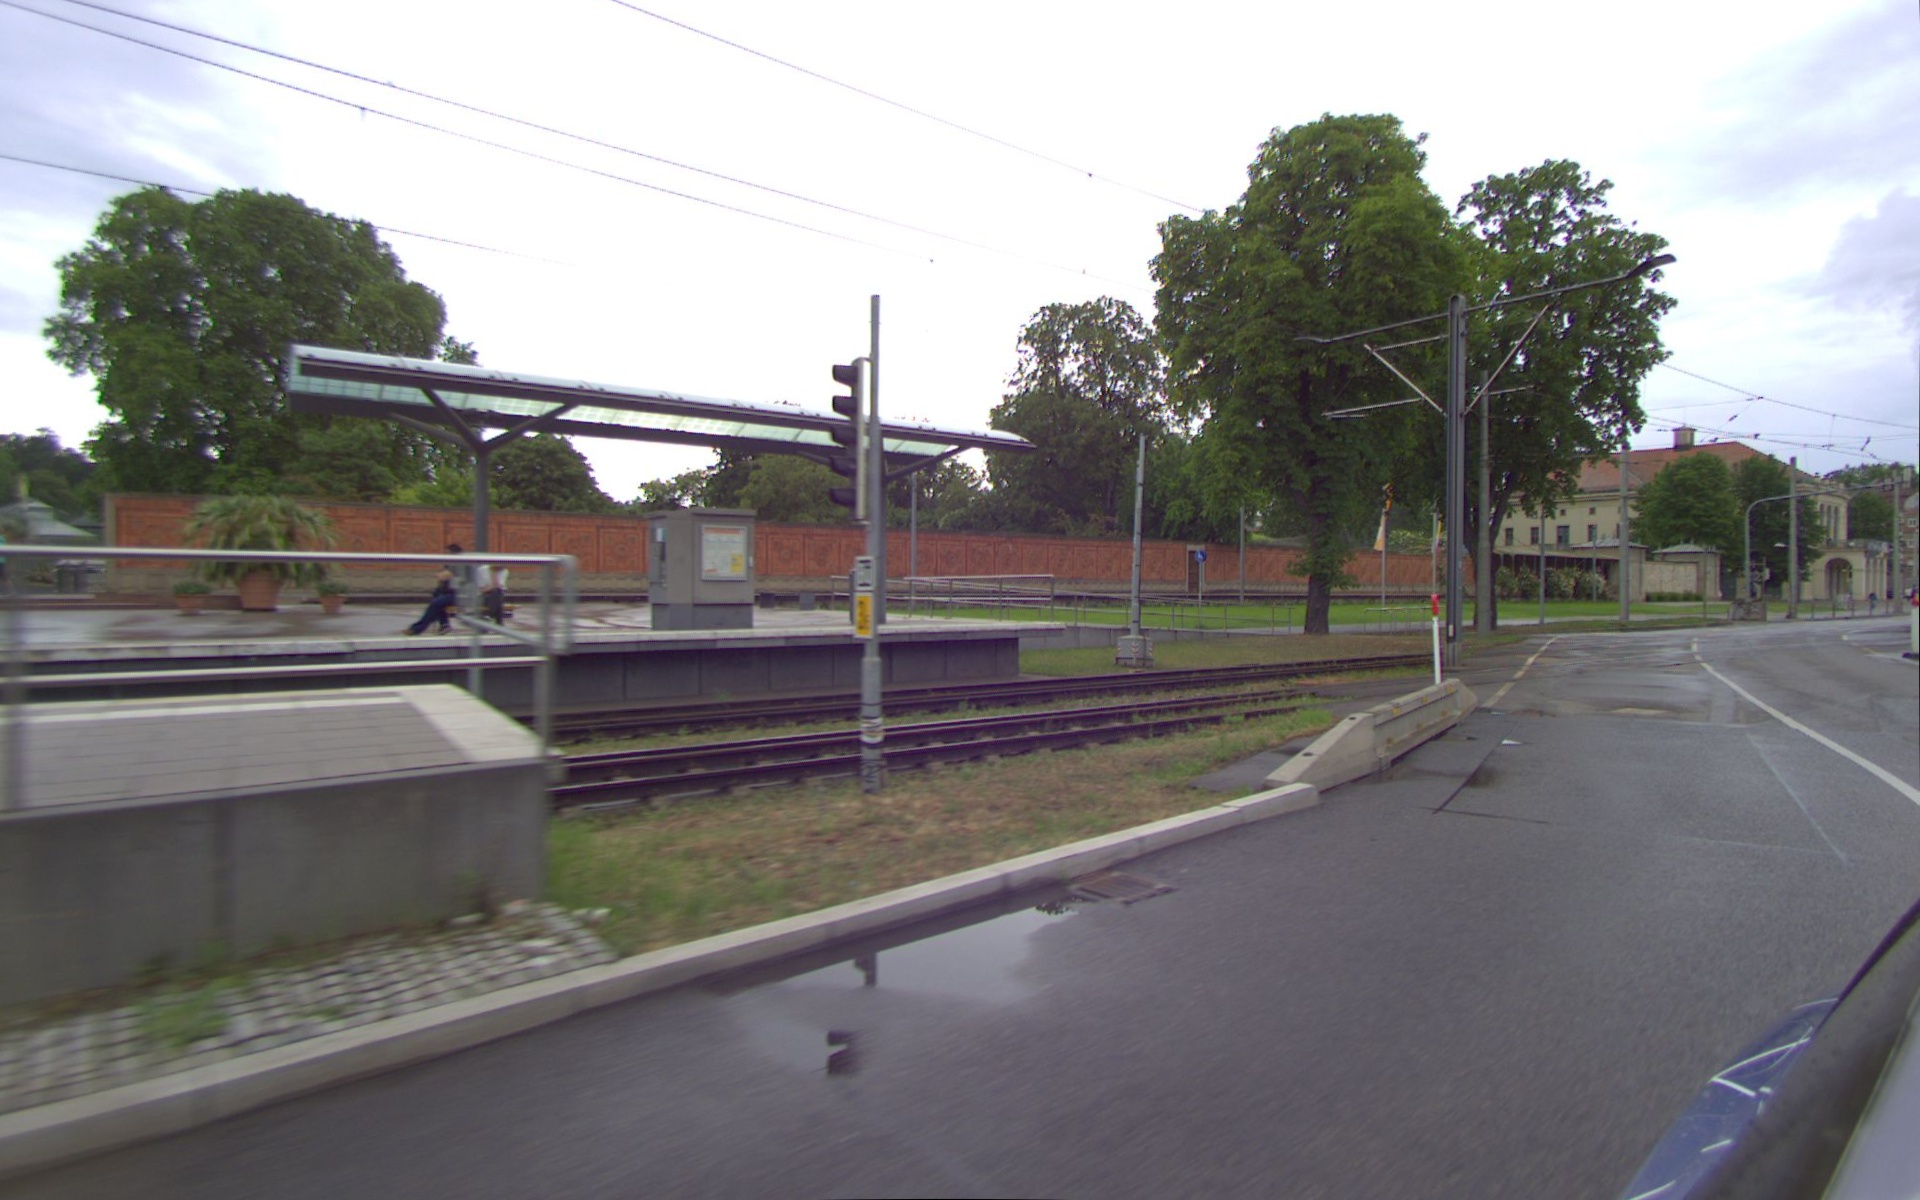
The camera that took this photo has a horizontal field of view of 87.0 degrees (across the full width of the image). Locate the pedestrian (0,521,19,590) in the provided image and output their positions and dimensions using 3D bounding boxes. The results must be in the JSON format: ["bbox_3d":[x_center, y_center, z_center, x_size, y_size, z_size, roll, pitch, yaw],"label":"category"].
[{"bbox_3d":[-23.496,-1.094,24.745,0.460,1.677,0.552,1,1,-2],"label":"pedestrian"}]

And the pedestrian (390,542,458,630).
[{"bbox_3d":[-7.766,-0.192,14.663,0.768,1.228,0.519,0,-2,-40],"label":"pedestrian"}]

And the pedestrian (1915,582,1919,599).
[{"bbox_3d":[101.600,-0.972,107.080,0.824,1.757,0.595,0,2,-39],"label":"pedestrian"}]

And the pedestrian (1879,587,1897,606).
[{"bbox_3d":[80.172,-0.289,87.436,0.654,1.610,0.867,2,2,-10],"label":"pedestrian"}]

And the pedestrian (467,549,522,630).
[{"bbox_3d":[-6.722,-0.138,14.613,0.598,1.133,0.513,-3,-2,38],"label":"pedestrian"}]

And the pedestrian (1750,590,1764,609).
[{"bbox_3d":[74.445,-0.066,94.574,0.963,1.732,0.731,1,2,-36],"label":"pedestrian"}]
